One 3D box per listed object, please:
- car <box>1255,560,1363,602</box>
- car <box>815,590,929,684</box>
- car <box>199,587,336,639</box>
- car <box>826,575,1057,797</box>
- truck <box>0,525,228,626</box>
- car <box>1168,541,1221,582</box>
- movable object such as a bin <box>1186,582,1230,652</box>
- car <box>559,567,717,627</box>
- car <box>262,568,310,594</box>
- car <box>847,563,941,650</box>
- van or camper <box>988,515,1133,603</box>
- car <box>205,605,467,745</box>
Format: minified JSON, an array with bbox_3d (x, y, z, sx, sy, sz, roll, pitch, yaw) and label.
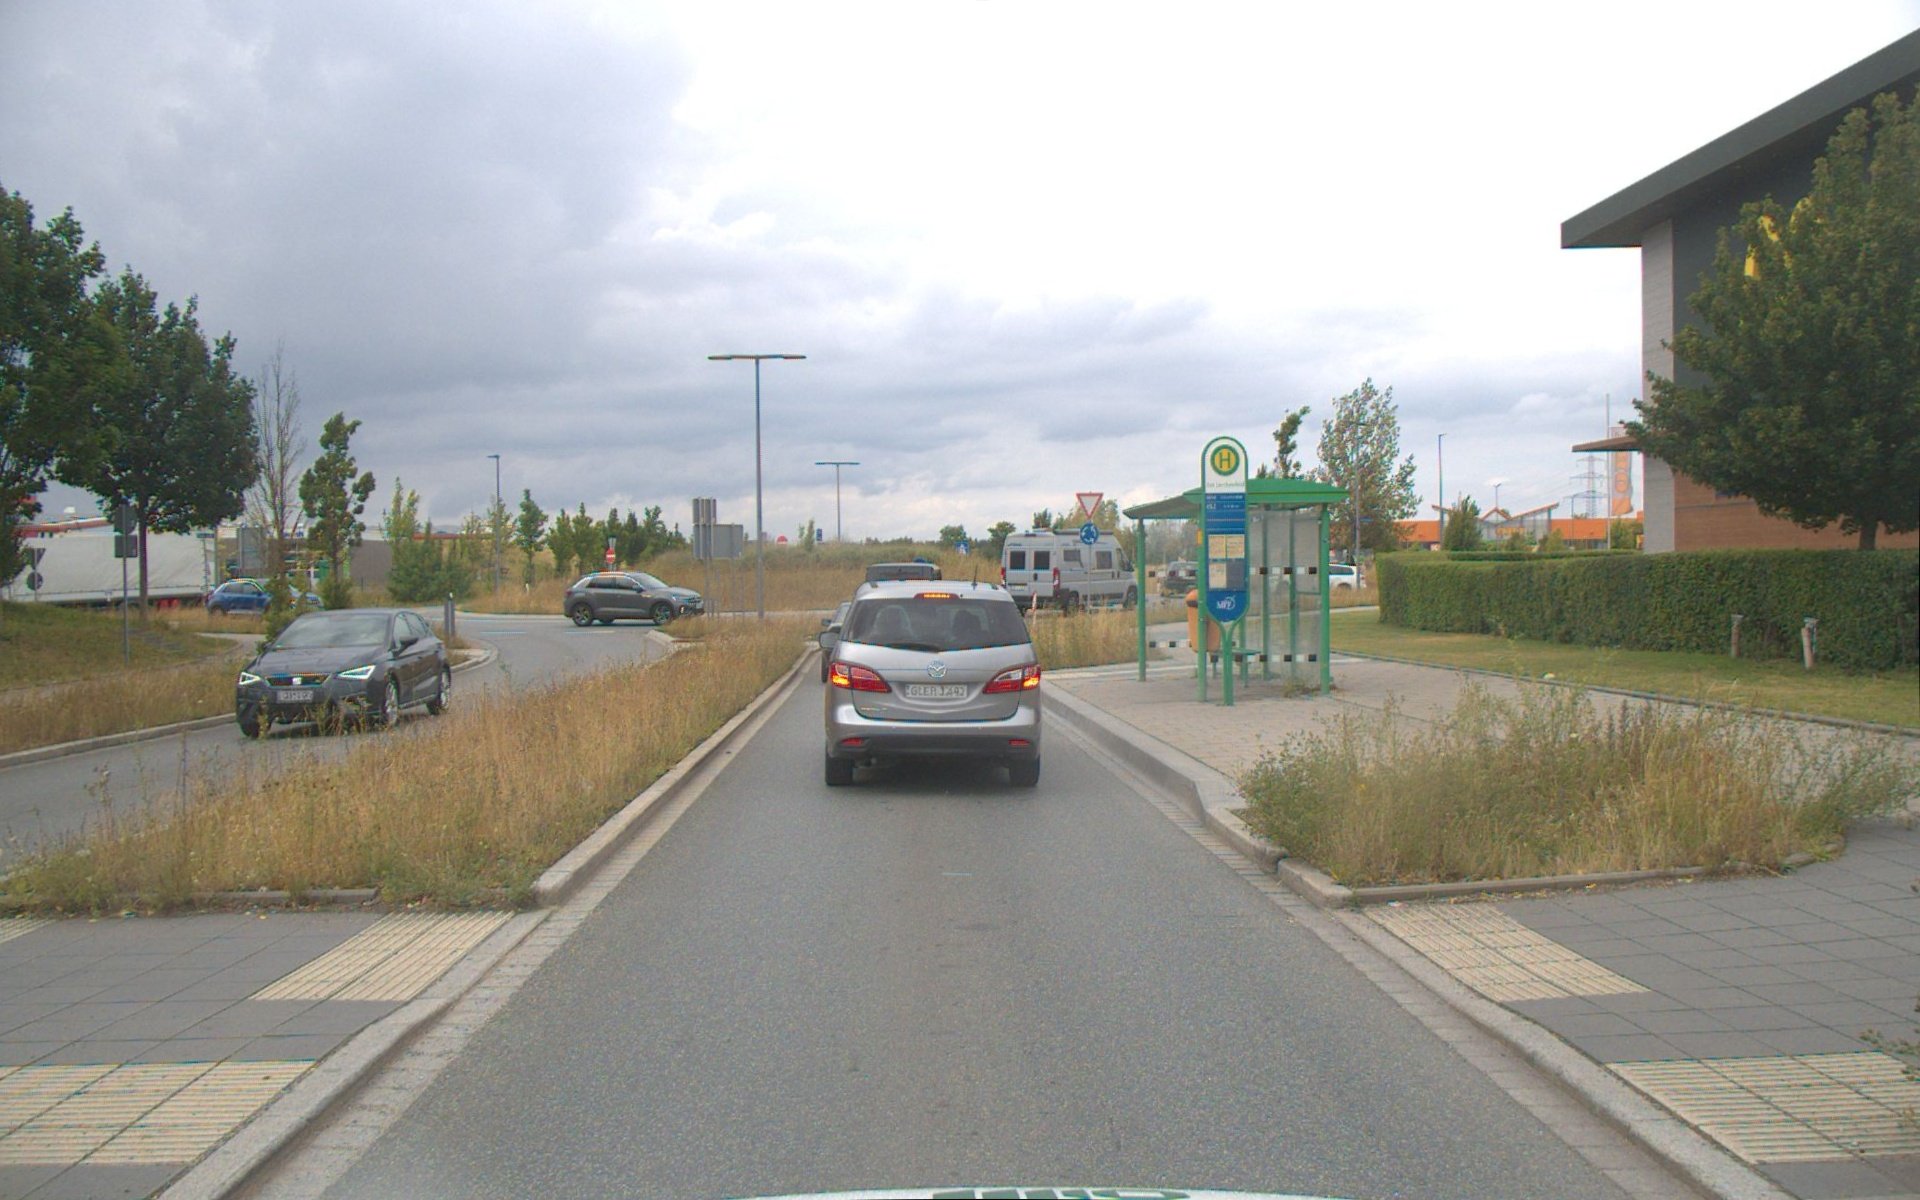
[{"bbox_3d":[15.236,-0.831,72.403,4.504,1.788,2.002,0,0,8],"label":"car"},{"bbox_3d":[-1.466,0.590,28.915,1.807,1.443,4.224,-1,1,-1],"label":"car"},{"bbox_3d":[-23.546,0.445,56.220,4.127,1.555,1.847,-2,0,21],"label":"car"},{"bbox_3d":[-0.252,0.612,14.108,1.695,1.628,3.804,0,1,-4],"label":"car"},{"bbox_3d":[-35.640,-1.029,68.652,9.155,3.975,3.129,-1,0,-16],"label":"truck"},{"bbox_3d":[9.217,-1.489,65.245,1.951,1.542,4.003,-1,0,7],"label":"car"},{"bbox_3d":[2.922,0.199,19.495,0.447,0.812,0.380,0,0,-3],"label":"movable object such as a bin"},{"bbox_3d":[-9.568,-0.110,49.345,4.100,1.620,2.067,-2,1,12],"label":"car"},{"bbox_3d":[-49.154,-1.380,120.776,1.953,1.892,3.999,0,1,-2],"label":"car"},{"bbox_3d":[-1.454,0.128,38.002,2.016,1.857,4.785,0,0,-1],"label":"car"},{"bbox_3d":[3.165,-1.223,50.959,2.262,2.549,5.192,0,1,33],"label":"van or camper"},{"bbox_3d":[-7.554,0.846,20.450,1.804,1.431,3.998,-3,1,-3],"label":"car"}]
